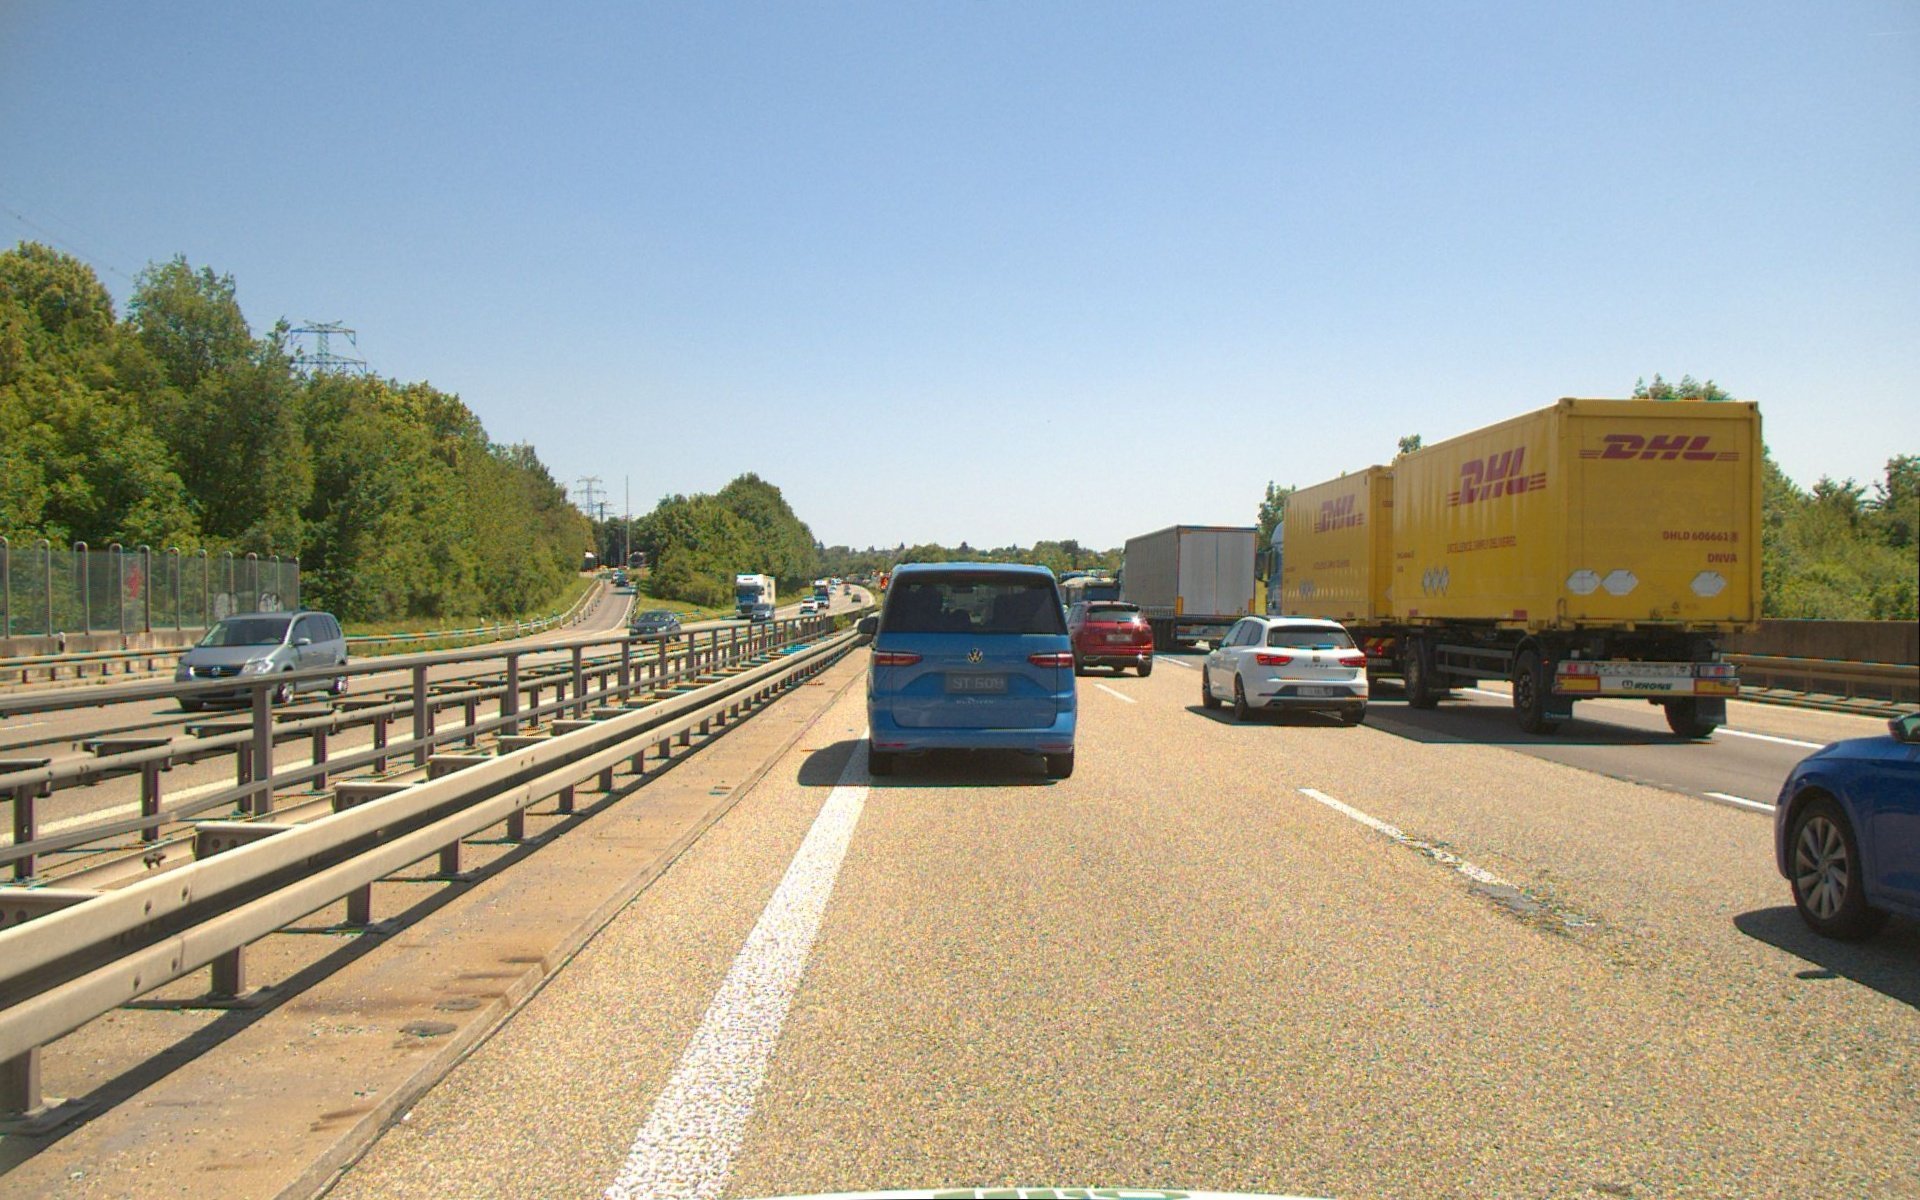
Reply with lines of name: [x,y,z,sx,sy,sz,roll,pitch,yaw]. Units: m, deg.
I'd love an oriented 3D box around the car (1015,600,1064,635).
car: [3.423,0.746,71.797,1.801,1.438,3.998,0,0,-2]

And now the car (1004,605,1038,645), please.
car: [3.196,1.301,87.021,1.551,2.049,3.492,1,-1,-1]

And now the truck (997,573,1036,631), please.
truck: [5.181,0.265,153.702,2.776,5.128,11.140,1,-1,-2]

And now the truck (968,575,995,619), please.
truck: [2.697,-0.271,213.640,2.776,5.467,12.548,1,-1,-2]

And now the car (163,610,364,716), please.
car: [-12.222,1.048,29.331,1.793,1.637,4.167,-3,0,-1]

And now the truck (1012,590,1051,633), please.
truck: [5.779,0.986,134.825,2.308,3.275,9.736,1,-1,-2]

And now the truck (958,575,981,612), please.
truck: [1.304,-0.841,240.127,2.776,5.128,12.906,1,-1,-2]

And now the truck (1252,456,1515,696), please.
truck: [8.295,-0.338,34.002,2.666,4.126,10.334,1,-1,0]

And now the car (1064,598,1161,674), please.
car: [3.443,0.796,37.988,1.813,1.636,3.999,0,0,-1]

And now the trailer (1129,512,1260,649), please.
trailer: [7.881,-0.519,57.142,2.699,4.219,11.309,1,-1,-1]

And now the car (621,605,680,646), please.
car: [-13.362,1.094,71.588,1.792,1.637,4.167,-2,0,-1]

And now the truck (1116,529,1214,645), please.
truck: [7.763,-0.430,63.555,2.712,4.167,6.982,1,-1,-1]

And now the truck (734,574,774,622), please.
truck: [-19.533,-0.178,157.098,2.928,4.354,7.187,-1,0,-1]

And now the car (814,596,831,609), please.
car: [-18.390,0.370,221.408,1.883,1.718,4.120,-2,0,-1]

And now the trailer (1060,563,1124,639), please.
trailer: [7.085,0.150,90.022,2.331,3.810,11.184,1,-1,-1]

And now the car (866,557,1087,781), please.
car: [0.124,0.592,15.931,1.844,1.869,3.999,1,0,-1]

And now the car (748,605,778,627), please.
car: [-14.872,1.190,124.965,1.792,1.637,4.167,-1,0,-1]

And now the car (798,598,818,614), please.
car: [-16.804,0.684,182.934,1.883,1.718,4.120,-2,0,-1]

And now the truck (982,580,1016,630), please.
truck: [4.078,0.585,175.692,2.776,5.128,11.811,1,-1,-2]

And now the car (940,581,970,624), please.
car: [-0.632,0.399,180.423,3.030,4.474,11.926,1,-1,-1]

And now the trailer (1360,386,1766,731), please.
trailer: [8.338,-0.434,24.353,2.646,4.094,8.929,1,-1,0]

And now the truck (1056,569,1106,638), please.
truck: [6.965,0.246,95.808,2.320,3.787,6.031,1,-1,-1]

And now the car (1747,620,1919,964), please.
car: [4.962,0.833,6.380,1.675,1.465,4.499,1,0,-1]

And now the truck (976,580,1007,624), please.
truck: [3.631,0.312,194.976,2.776,4.972,13.213,1,-1,-2]

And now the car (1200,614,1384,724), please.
car: [4.623,0.914,23.623,1.745,1.411,4.187,1,0,-1]

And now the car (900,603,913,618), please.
car: [-7.001,1.366,216.707,1.704,1.944,3.680,1,-1,-1]
